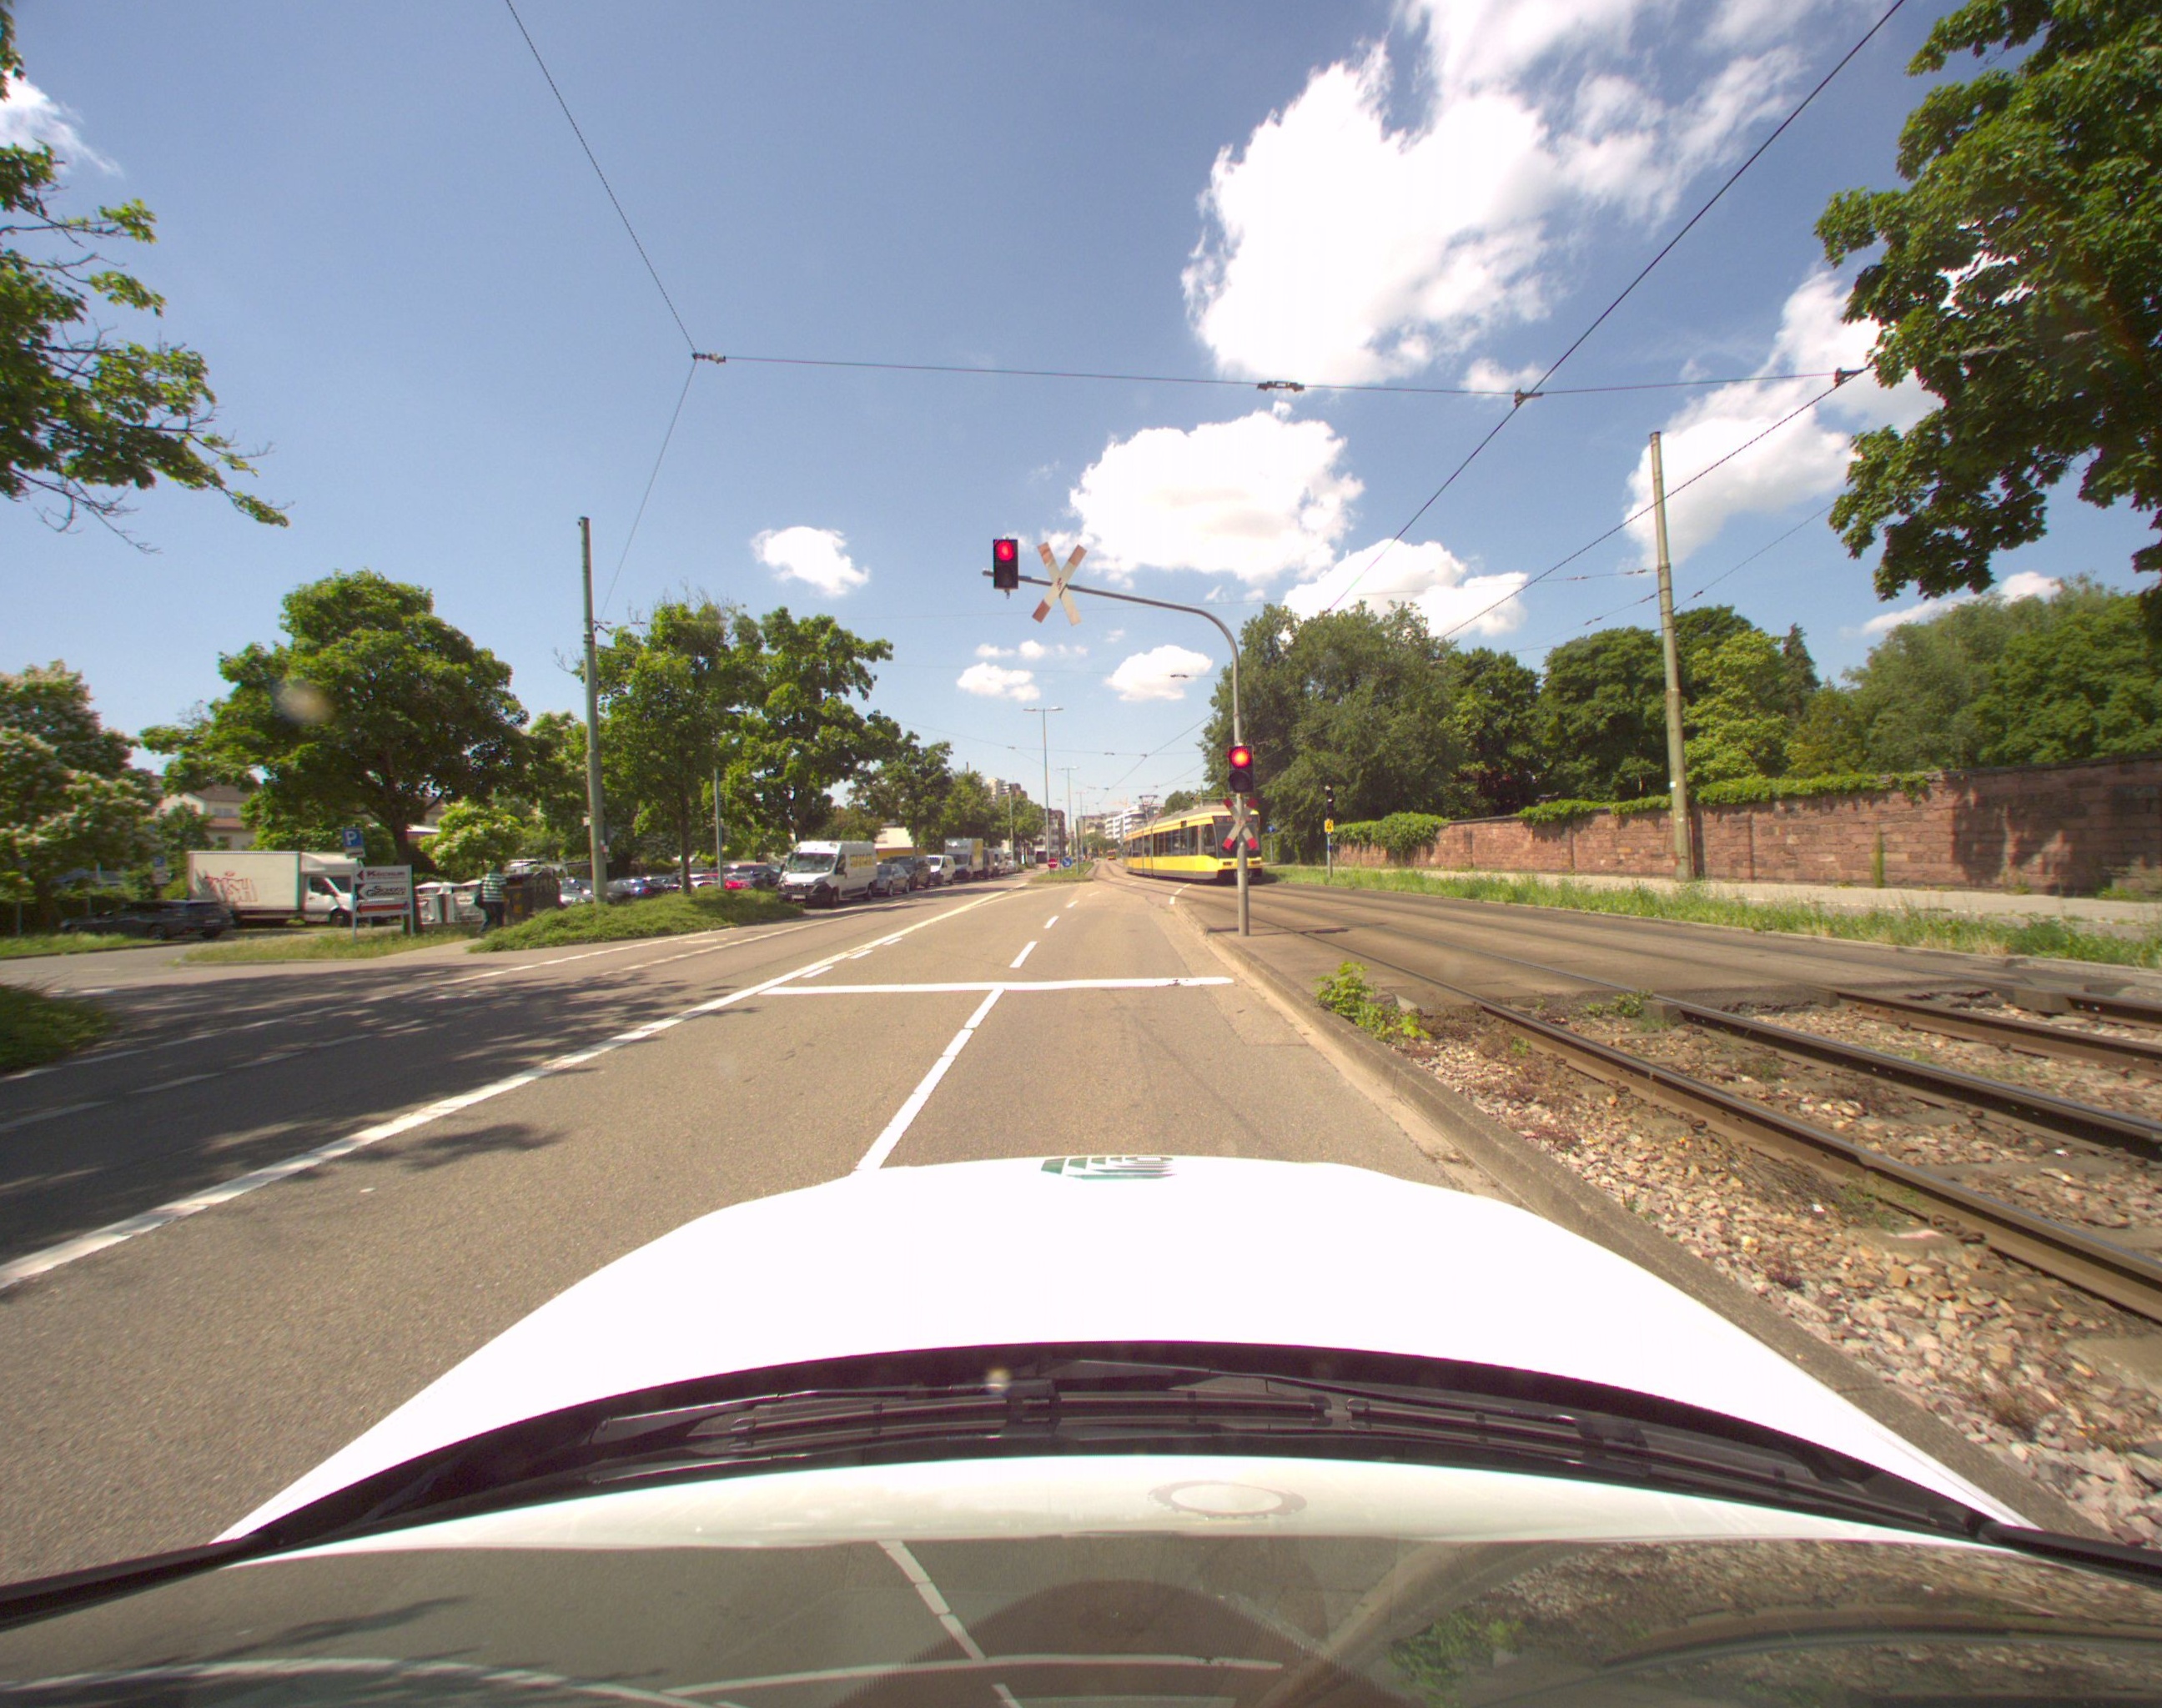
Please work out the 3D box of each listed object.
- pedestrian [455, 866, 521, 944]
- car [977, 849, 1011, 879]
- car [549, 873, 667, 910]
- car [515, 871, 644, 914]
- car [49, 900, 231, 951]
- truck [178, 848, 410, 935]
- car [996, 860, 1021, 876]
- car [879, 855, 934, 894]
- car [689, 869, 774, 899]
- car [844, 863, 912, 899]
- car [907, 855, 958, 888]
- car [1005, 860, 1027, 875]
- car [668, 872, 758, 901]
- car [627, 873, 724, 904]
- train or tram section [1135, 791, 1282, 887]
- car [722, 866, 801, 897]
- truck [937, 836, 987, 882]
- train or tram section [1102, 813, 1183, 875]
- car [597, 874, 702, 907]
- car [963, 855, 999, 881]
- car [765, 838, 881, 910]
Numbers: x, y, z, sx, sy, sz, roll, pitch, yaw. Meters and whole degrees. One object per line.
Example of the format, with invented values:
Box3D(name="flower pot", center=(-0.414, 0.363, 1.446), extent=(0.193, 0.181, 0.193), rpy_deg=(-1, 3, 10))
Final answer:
Box3D(name="pedestrian", center=(-14.660, 1.247, 20.161), extent=(0.972, 1.823, 0.793), rpy_deg=(-2, 0, -4))
Box3D(name="car", center=(-7.989, 0.846, 75.423), extent=(2.147, 2.639, 5.617), rpy_deg=(1, 0, 4))
Box3D(name="car", center=(-20.411, 1.588, 35.224), extent=(3.974, 1.339, 1.805), rpy_deg=(-3, 0, 0))
Box3D(name="car", center=(-20.124, 1.523, 32.795), extent=(3.974, 1.442, 1.805), rpy_deg=(-3, 0, 0))
Box3D(name="car", center=(-31.773, 2.384, 27.585), extent=(3.975, 1.399, 1.772), rpy_deg=(-3, 0, -1))
Box3D(name="truck", center=(-32.773, 1.514, 34.098), extent=(7.166, 3.228, 2.332), rpy_deg=(-3, 0, -1))
Box3D(name="car", center=(-7.930, 1.503, 88.961), extent=(2.053, 1.582, 4.873), rpy_deg=(-3, 0, 2))
Box3D(name="car", center=(-9.477, 1.071, 44.583), extent=(1.861, 1.895, 4.273), rpy_deg=(-3, 0, 2))
Box3D(name="car", center=(-19.879, 1.698, 46.466), extent=(3.973, 1.442, 1.805), rpy_deg=(-3, 0, 0))
Box3D(name="car", center=(-9.447, 1.226, 38.254), extent=(1.861, 1.437, 4.345), rpy_deg=(-3, 0, 2))
Box3D(name="car", center=(-9.288, 1.069, 51.406), extent=(2.053, 1.898, 4.873), rpy_deg=(-3, 0, 2))
Box3D(name="car", center=(-7.651, 1.557, 96.278), extent=(2.053, 1.582, 4.873), rpy_deg=(-3, 0, 2))
Box3D(name="car", center=(-19.774, 1.734, 43.889), extent=(3.974, 1.339, 1.805), rpy_deg=(-3, 0, 0))
Box3D(name="car", center=(-20.526, 1.722, 41.327), extent=(3.974, 1.339, 1.805), rpy_deg=(-3, 0, 0))
Box3D(name="train or tram section", center=(5.594, -0.603, 40.948), extent=(2.939, 3.692, 18.355), rpy_deg=(-1, 0, -5))
Box3D(name="car", center=(-19.259, 1.652, 49.232), extent=(3.974, 1.606, 1.805), rpy_deg=(-3, 0, 0))
Box3D(name="truck", center=(-8.663, 0.327, 60.024), extent=(2.147, 3.210, 7.089), rpy_deg=(1, 0, 4))
Box3D(name="train or tram section", center=(4.053, -0.626, 60.111), extent=(2.938, 3.692, 20.252), rpy_deg=(-1, 0, -4))
Box3D(name="car", center=(-20.442, 1.707, 38.687), extent=(3.974, 1.339, 1.805), rpy_deg=(-3, 0, 0))
Box3D(name="car", center=(-8.230, 1.125, 67.380), extent=(2.053, 1.977, 4.873), rpy_deg=(-3, 0, 2))
Box3D(name="car", center=(-9.855, 0.688, 31.753), extent=(2.147, 2.487, 6.199), rpy_deg=(1, 0, 4))
